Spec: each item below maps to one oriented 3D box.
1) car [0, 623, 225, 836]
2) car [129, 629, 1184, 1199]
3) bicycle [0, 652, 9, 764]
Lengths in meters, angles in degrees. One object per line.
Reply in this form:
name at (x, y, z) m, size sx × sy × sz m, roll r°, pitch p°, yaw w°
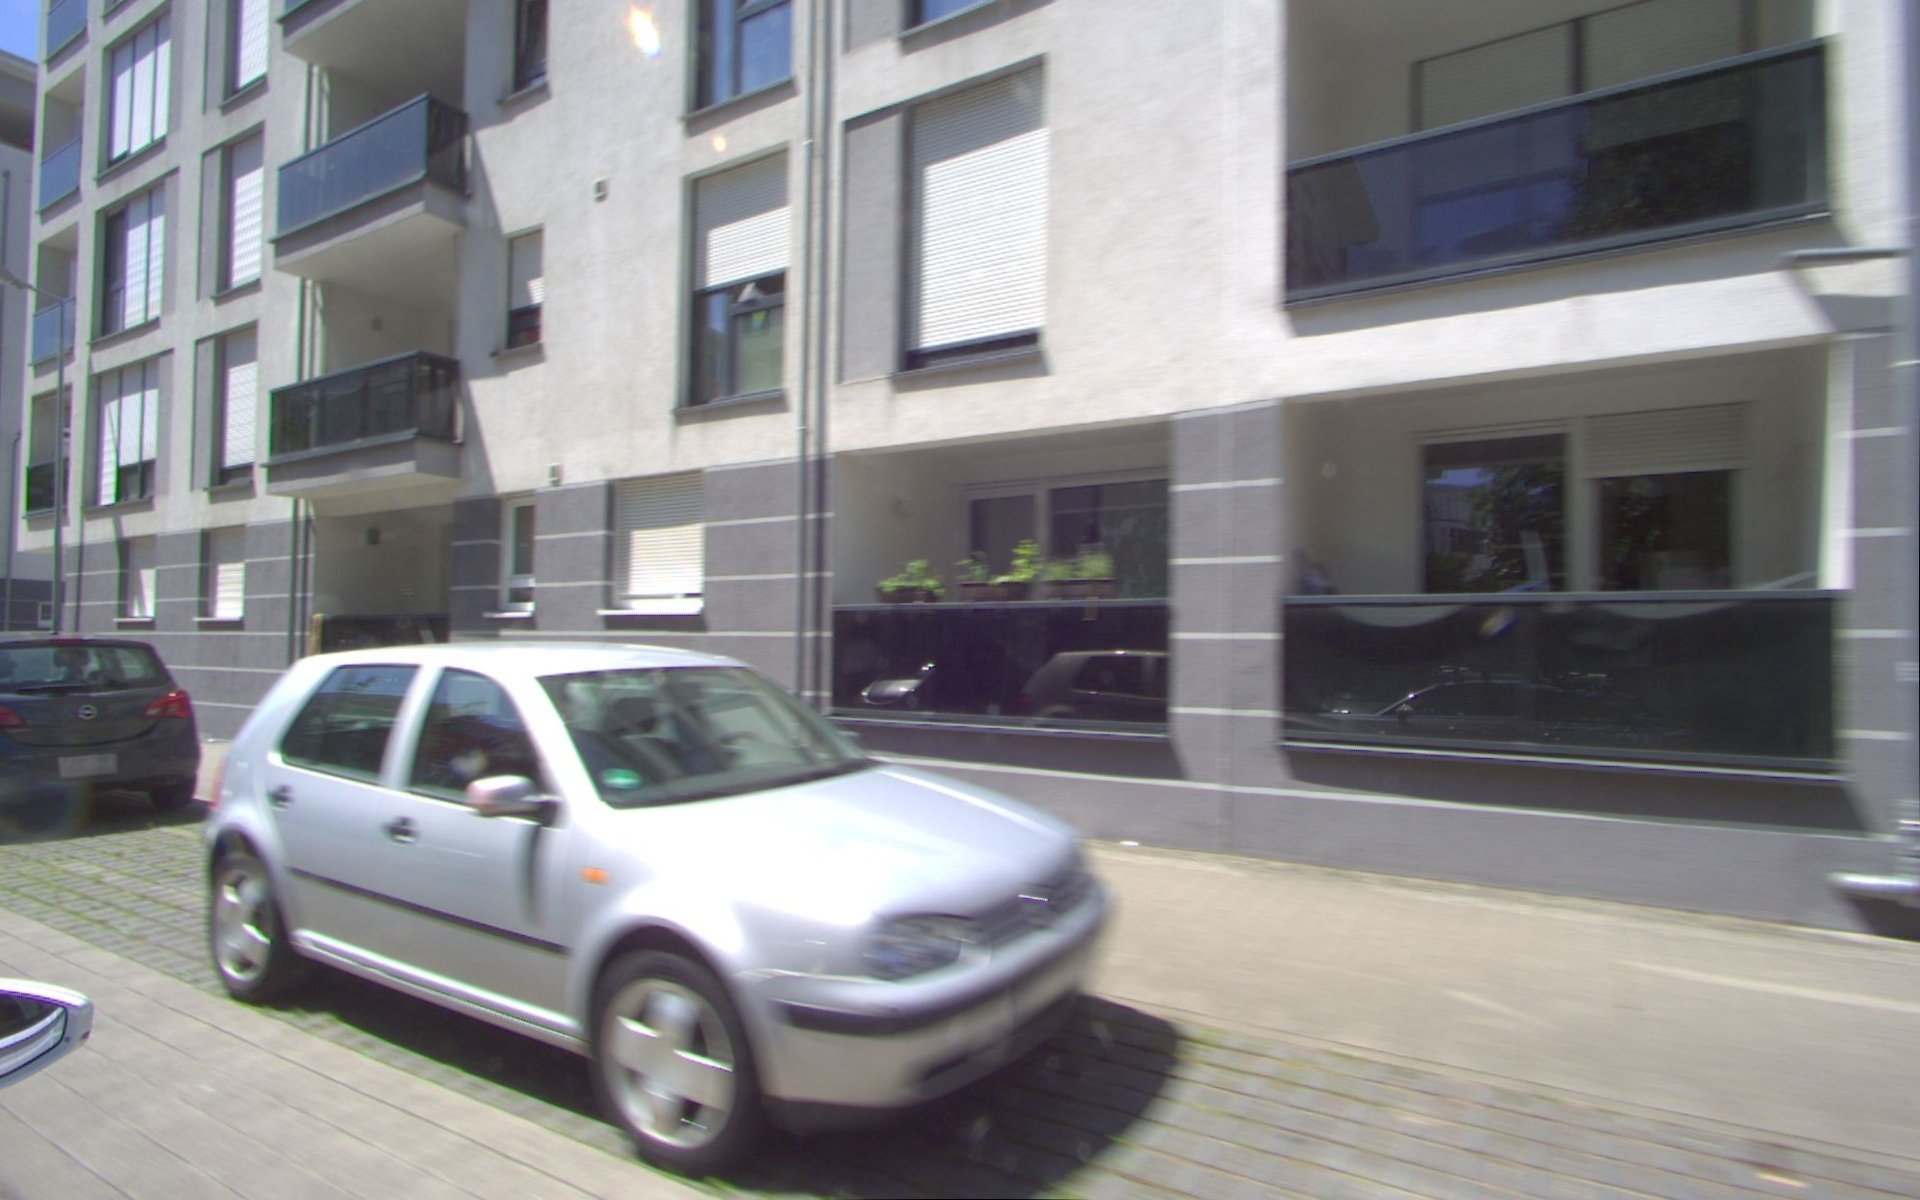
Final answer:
car at (-8.304, 0.963, 8.639) m, size 4.168 × 1.504 × 1.736 m, roll -1°, pitch -2°, yaw 32°
car at (-1.439, 0.886, 4.152) m, size 4.288 × 1.524 × 1.831 m, roll -1°, pitch -2°, yaw 32°
bicycle at (-11.367, 1.173, 10.516) m, size 0.704 × 1.233 × 1.869 m, roll -1°, pitch -2°, yaw 28°
